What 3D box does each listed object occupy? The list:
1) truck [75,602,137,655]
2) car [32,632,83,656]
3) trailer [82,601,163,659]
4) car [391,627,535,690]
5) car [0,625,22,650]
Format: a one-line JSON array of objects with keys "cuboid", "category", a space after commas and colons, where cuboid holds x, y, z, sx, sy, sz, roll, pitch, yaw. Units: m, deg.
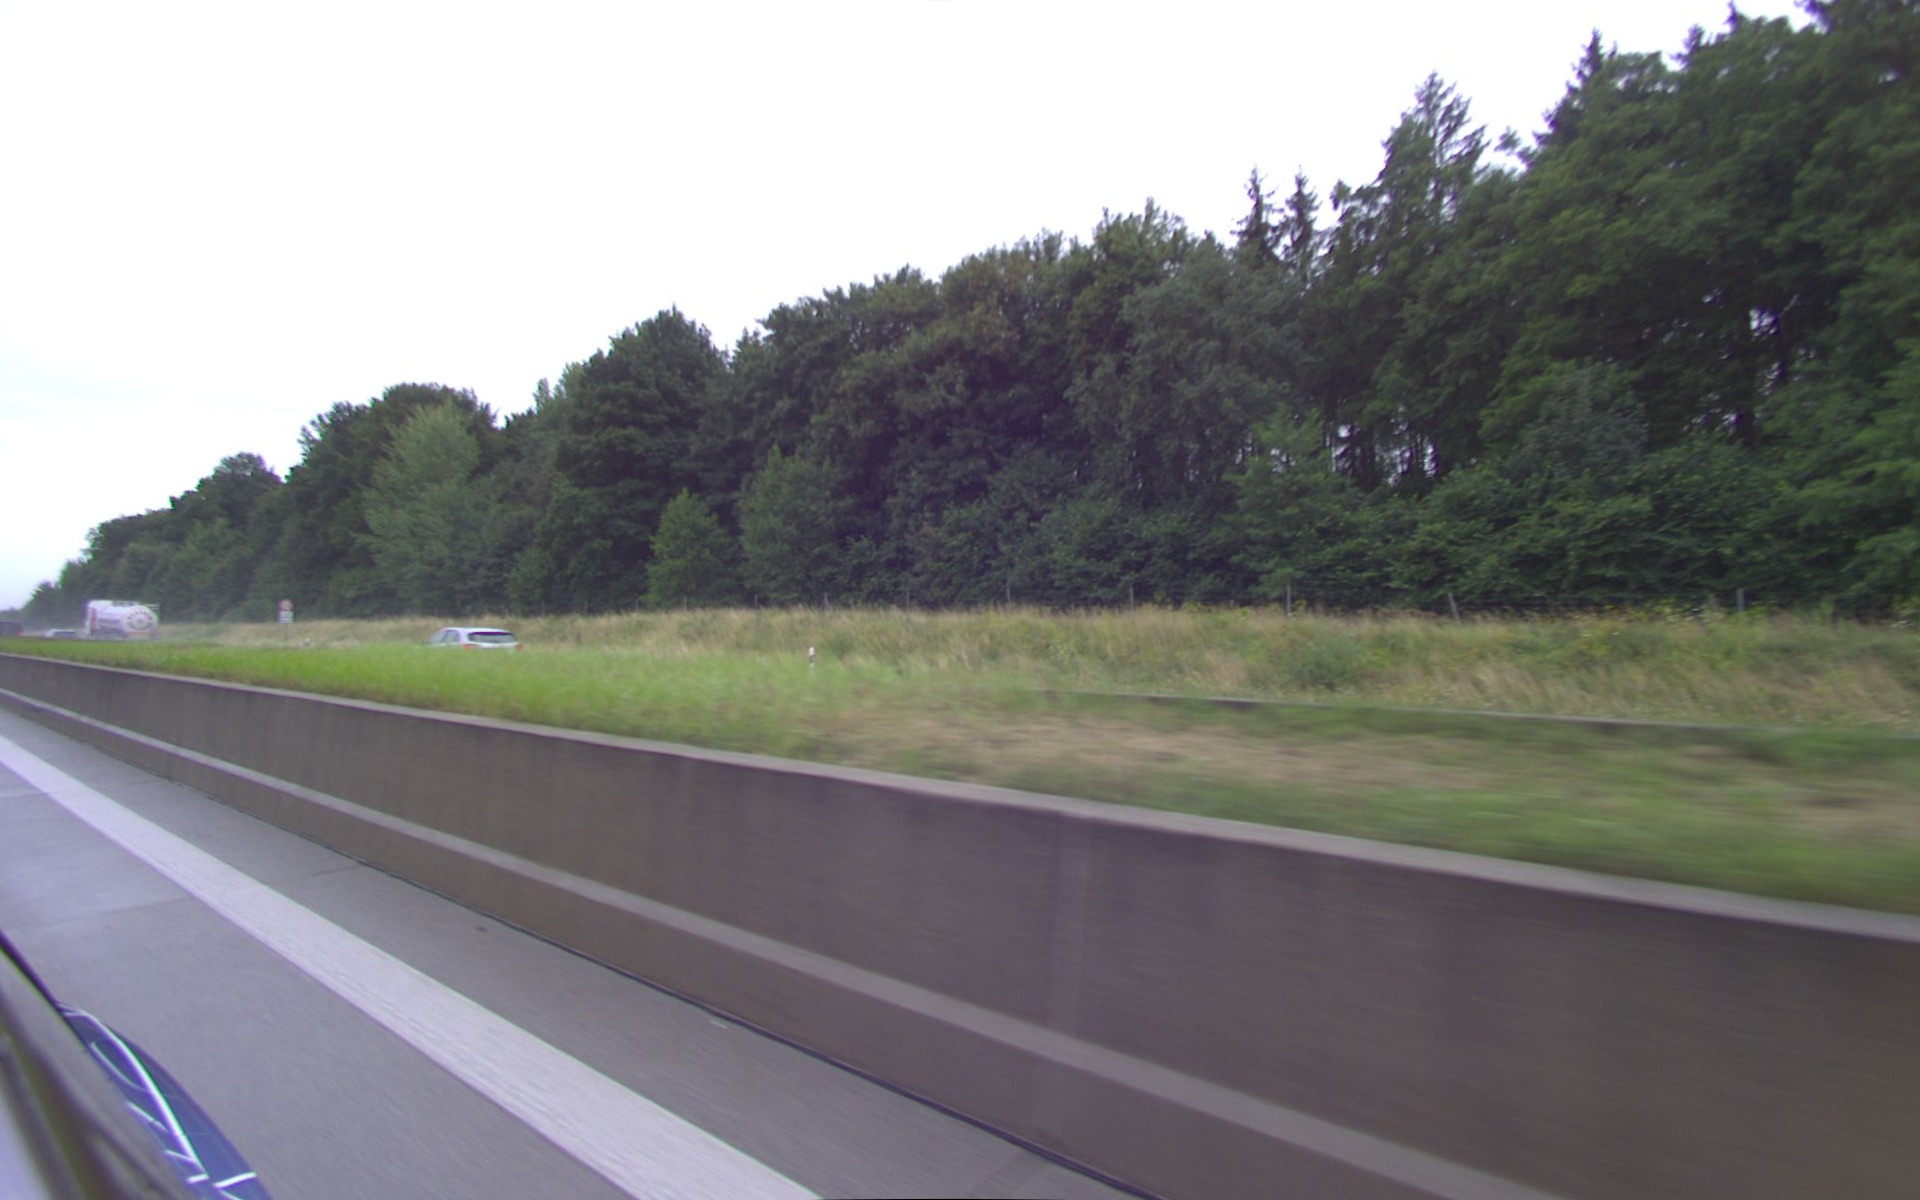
[{"cuboid": [-65.739, 2.203, 77.863, 6.431, 3.905, 2.637, -1, -2, 40], "category": "truck"}, {"cuboid": [-61.082, 2.936, 68.463, 4.557, 1.555, 1.973, -2, -2, 41], "category": "car"}, {"cuboid": [-61.789, 2.234, 74.514, 11.128, 4.002, 2.637, -2, -3, 40], "category": "trailer"}, {"cuboid": [-13.419, 1.499, 27.183, 4.637, 1.555, 1.793, -1, -2, 41], "category": "car"}, {"cuboid": [-61.544, 2.397, 64.564, 4.557, 1.555, 1.973, -1, -2, 41], "category": "car"}]
